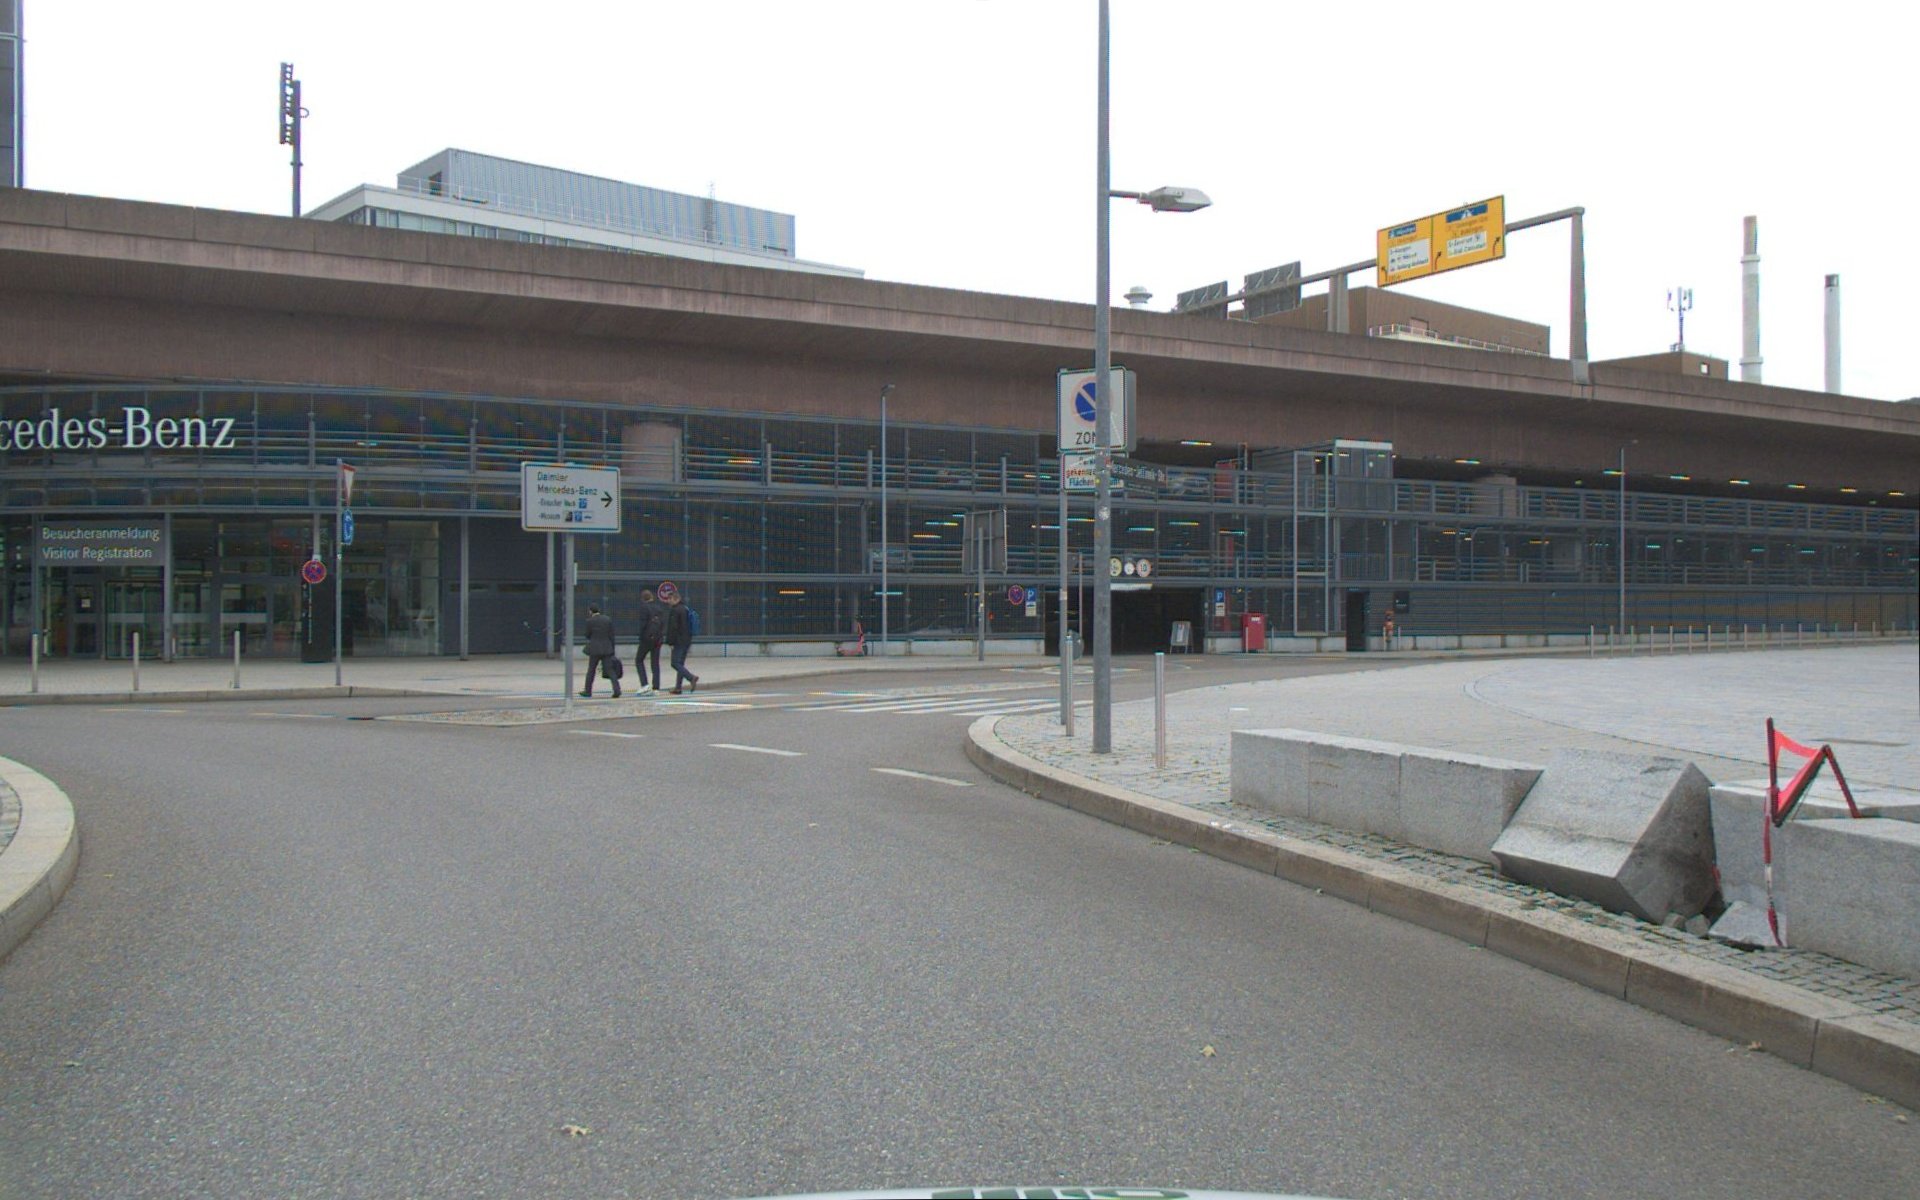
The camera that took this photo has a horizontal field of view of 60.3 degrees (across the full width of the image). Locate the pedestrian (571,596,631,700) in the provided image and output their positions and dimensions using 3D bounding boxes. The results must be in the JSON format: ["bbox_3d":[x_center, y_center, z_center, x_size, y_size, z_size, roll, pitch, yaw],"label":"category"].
[{"bbox_3d":[-6.116,0.806,28.209,0.845,1.735,0.772,1,-1,-1],"label":"pedestrian"}]

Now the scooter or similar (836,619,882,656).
[{"bbox_3d":[-3.127,1.157,51.193,1.408,1.143,0.377,1,-1,-30],"label":"scooter or similar"}]

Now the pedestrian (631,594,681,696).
[{"bbox_3d":[-5.244,0.766,28.592,0.769,1.735,0.771,1,-1,-7],"label":"pedestrian"}]

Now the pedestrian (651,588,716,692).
[{"bbox_3d":[-4.952,0.700,29.632,0.857,1.830,0.772,1,-1,-40],"label":"pedestrian"}]
